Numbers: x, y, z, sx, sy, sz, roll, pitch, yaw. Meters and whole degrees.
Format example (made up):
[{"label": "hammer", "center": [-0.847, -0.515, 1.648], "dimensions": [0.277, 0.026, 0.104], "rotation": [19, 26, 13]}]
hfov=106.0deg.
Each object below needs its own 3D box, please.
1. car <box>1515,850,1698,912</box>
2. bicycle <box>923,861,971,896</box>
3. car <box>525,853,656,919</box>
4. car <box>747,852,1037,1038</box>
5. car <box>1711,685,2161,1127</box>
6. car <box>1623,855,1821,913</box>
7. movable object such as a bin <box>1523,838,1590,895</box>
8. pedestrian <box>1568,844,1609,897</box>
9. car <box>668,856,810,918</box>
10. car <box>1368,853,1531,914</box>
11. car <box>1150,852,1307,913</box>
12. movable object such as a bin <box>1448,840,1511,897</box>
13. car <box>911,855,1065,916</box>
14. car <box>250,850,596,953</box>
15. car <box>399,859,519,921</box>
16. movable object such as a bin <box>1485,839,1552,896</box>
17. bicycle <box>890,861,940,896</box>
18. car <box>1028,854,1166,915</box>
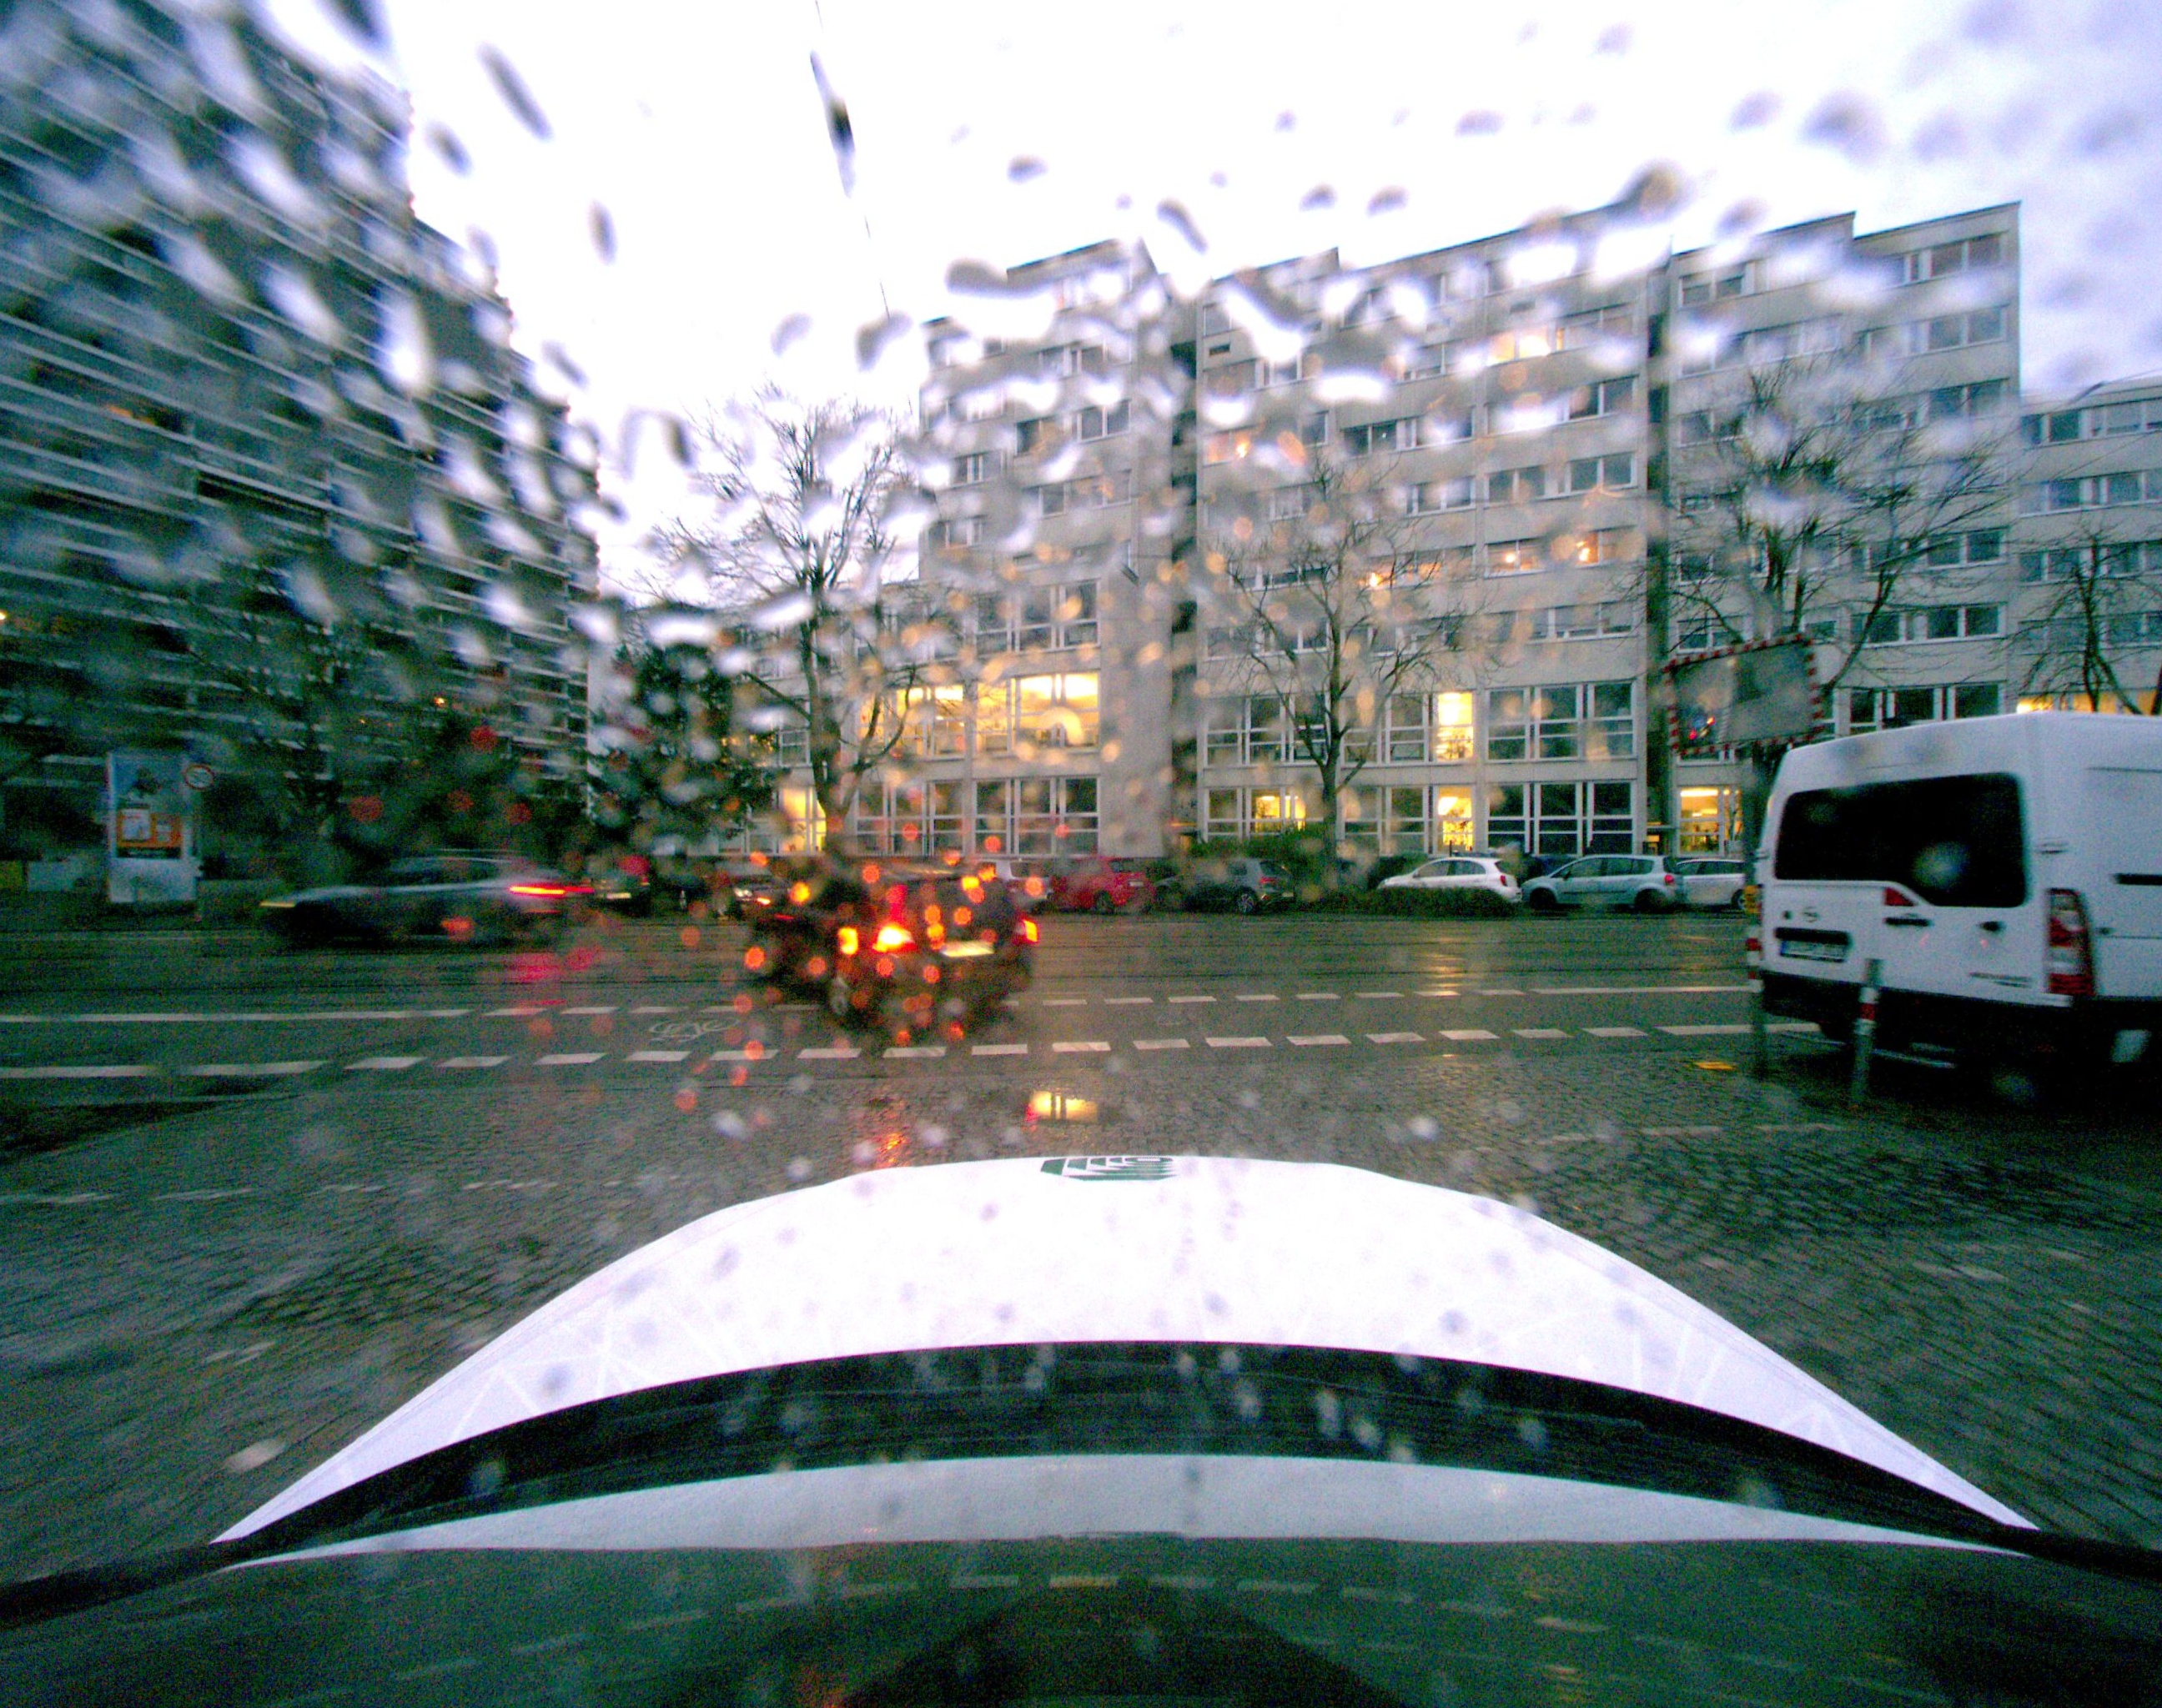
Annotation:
[{"label": "car", "center": [14.364, 0.698, 22.410], "dimensions": [3.950, 1.563, 1.747], "rotation": [-1, 0, 44]}, {"label": "bicycle", "center": [-4.543, 0.827, 27.752], "dimensions": [0.635, 1.120, 2.216], "rotation": [-1, 0, 19]}, {"label": "car", "center": [-12.417, 0.751, 20.517], "dimensions": [3.950, 1.462, 1.867], "rotation": [-1, 0, 44]}, {"label": "car", "center": [-2.335, 0.783, 9.088], "dimensions": [1.760, 1.545, 4.250], "rotation": [-1, 0, -34]}, {"label": "car", "center": [8.003, 0.275, 5.977], "dimensions": [5.415, 2.487, 2.126], "rotation": [0, 0, -7]}, {"label": "car", "center": [17.432, 0.771, 22.318], "dimensions": [1.744, 1.444, 3.955], "rotation": [1, -1, -37]}, {"label": "movable object such as a bin", "center": [16.323, 0.409, 28.028], "dimensions": [1.310, 1.860, 1.573], "rotation": [-2, 0, -3]}, {"label": "pedestrian", "center": [16.520, 0.526, 26.516], "dimensions": [0.968, 1.677, 0.598], "rotation": [-1, -1, -4]}, {"label": "car", "center": [-8.608, 0.765, 20.355], "dimensions": [3.950, 1.379, 1.867], "rotation": [-1, 0, 44]}, {"label": "car", "center": [10.267, 0.781, 22.840], "dimensions": [3.827, 1.551, 1.703], "rotation": [-1, 0, 41]}, {"label": "car", "center": [3.889, 0.727, 21.829], "dimensions": [3.805, 1.493, 1.706], "rotation": [-1, 0, 42]}, {"label": "movable object such as a bin", "center": [13.593, 0.485, 27.849], "dimensions": [1.310, 1.860, 1.573], "rotation": [-2, 0, -3]}, {"label": "car", "center": [-2.506, 0.788, 21.398], "dimensions": [3.949, 1.446, 1.804], "rotation": [-1, 0, 40]}, {"label": "car", "center": [-11.051, 0.756, 13.960], "dimensions": [4.358, 1.579, 1.709], "rotation": [-1, 0, -5]}, {"label": "car", "center": [-15.840, 0.860, 20.677], "dimensions": [3.950, 1.400, 1.867], "rotation": [-1, 0, 44]}, {"label": "movable object such as a bin", "center": [14.981, 0.466, 27.951], "dimensions": [1.385, 1.860, 1.573], "rotation": [-2, 0, -3]}, {"label": "bicycle", "center": [-5.709, 0.832, 28.128], "dimensions": [0.635, 1.120, 2.216], "rotation": [-1, 0, 19]}, {"label": "car", "center": [0.381, 0.764, 21.848], "dimensions": [3.408, 1.493, 1.740], "rotation": [-1, 0, 44]}]
